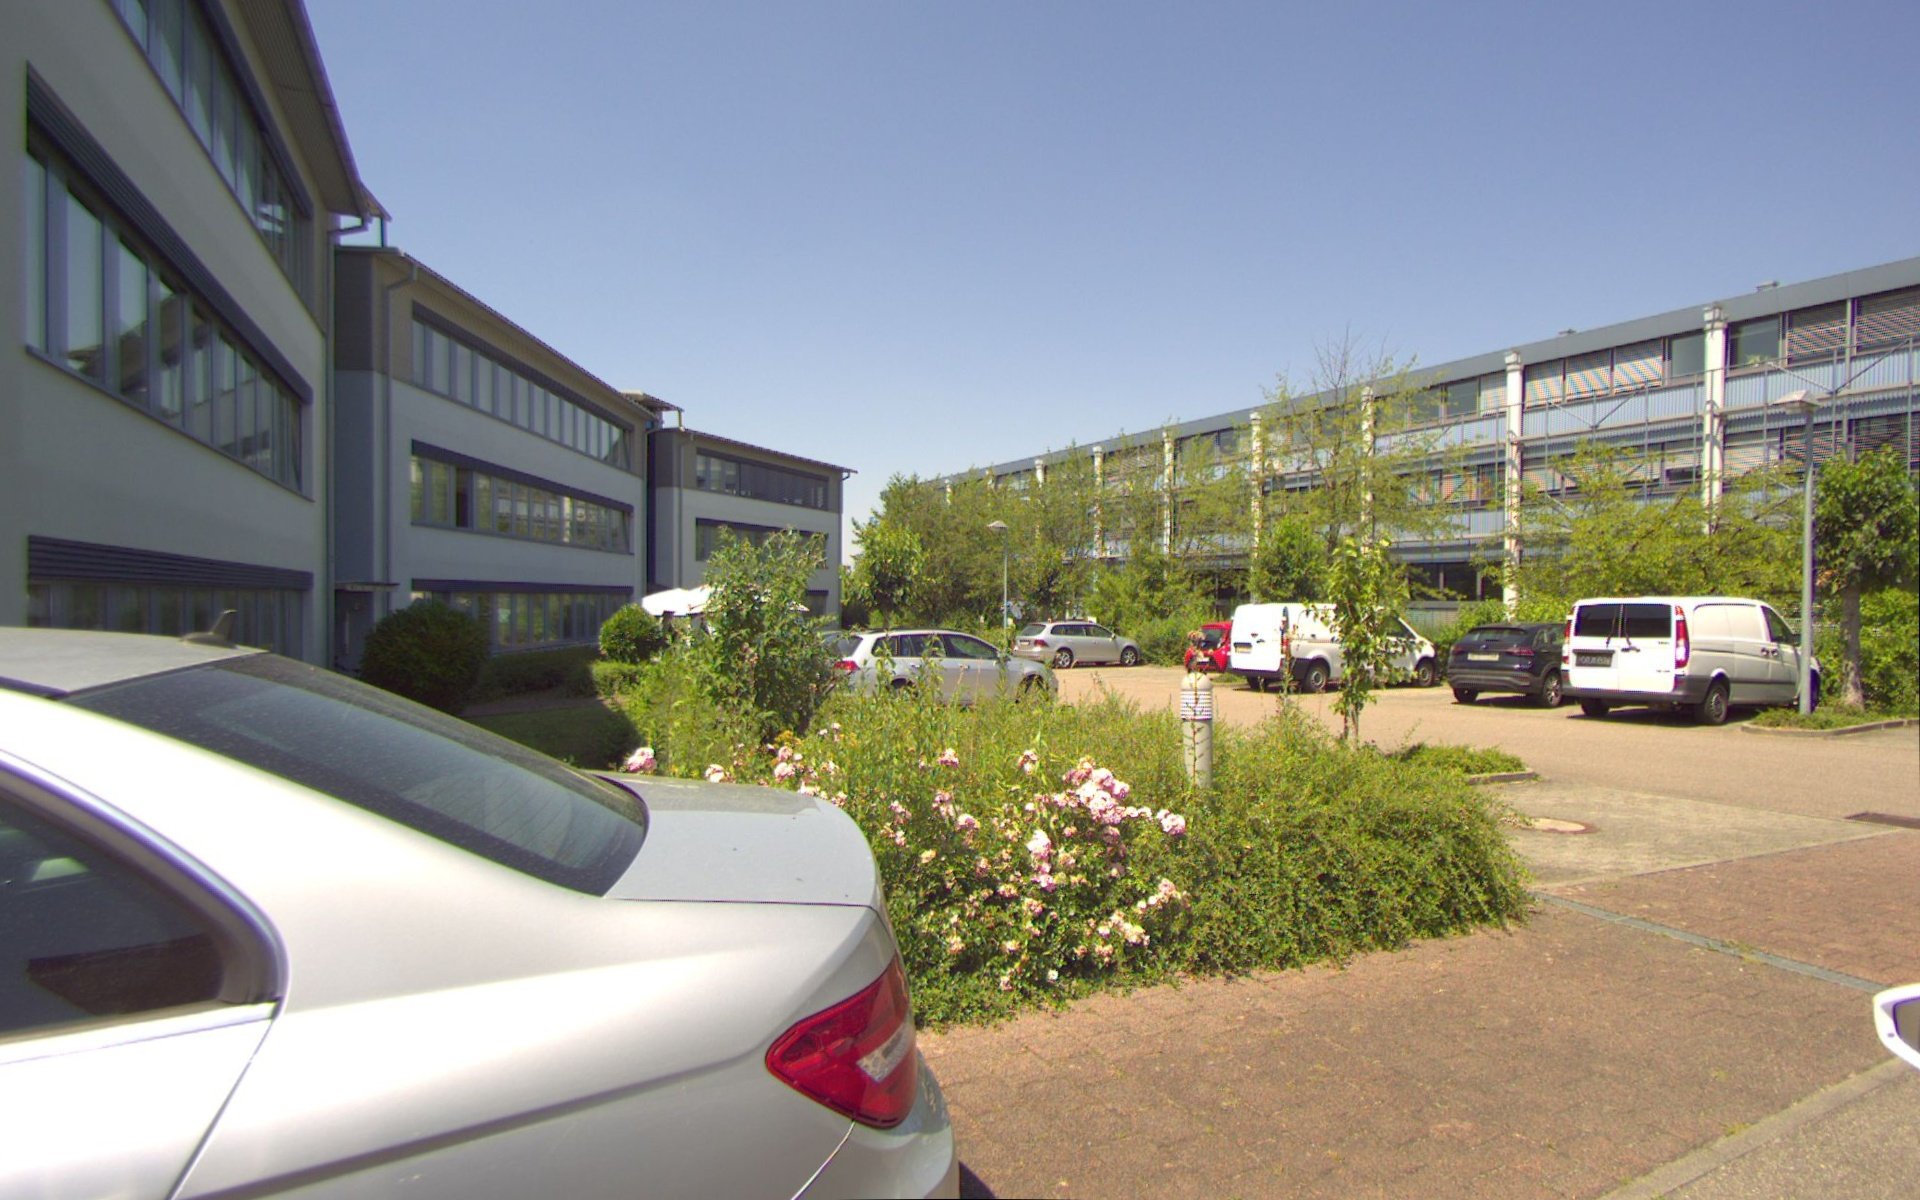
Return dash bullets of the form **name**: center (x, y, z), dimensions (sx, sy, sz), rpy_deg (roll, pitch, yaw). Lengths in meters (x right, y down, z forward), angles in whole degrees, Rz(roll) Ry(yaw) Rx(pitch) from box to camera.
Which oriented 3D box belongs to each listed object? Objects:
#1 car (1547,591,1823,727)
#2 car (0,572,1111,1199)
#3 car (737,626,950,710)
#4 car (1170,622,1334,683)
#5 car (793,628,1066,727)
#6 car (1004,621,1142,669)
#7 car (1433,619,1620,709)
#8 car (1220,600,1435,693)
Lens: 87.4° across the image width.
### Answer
- **car**: center (11.841, 0.862, 16.330), dimensions (4.751, 1.930, 1.904), rpy_deg (0, -1, -31)
- **car**: center (-1.987, 0.714, 1.303), dimensions (4.093, 1.476, 1.723), rpy_deg (1, -1, -26)
- **car**: center (-2.407, 1.328, 20.762), dimensions (3.947, 1.481, 1.987), rpy_deg (-1, -1, -26)
- **car**: center (7.576, 1.312, 26.035), dimensions (3.948, 1.460, 1.776), rpy_deg (1, -1, -27)
- **car**: center (-0.496, 1.251, 17.466), dimensions (4.430, 1.492, 1.849), rpy_deg (1, -1, -30)
- **car**: center (3.662, 1.427, 32.572), dimensions (4.115, 1.425, 1.861), rpy_deg (0, -1, -27)
- **car**: center (10.780, 1.127, 19.021), dimensions (3.965, 1.496, 1.741), rpy_deg (0, -1, -39)
- **car**: center (8.305, 0.967, 22.604), dimensions (4.742, 1.916, 1.874), rpy_deg (0, 0, -28)
